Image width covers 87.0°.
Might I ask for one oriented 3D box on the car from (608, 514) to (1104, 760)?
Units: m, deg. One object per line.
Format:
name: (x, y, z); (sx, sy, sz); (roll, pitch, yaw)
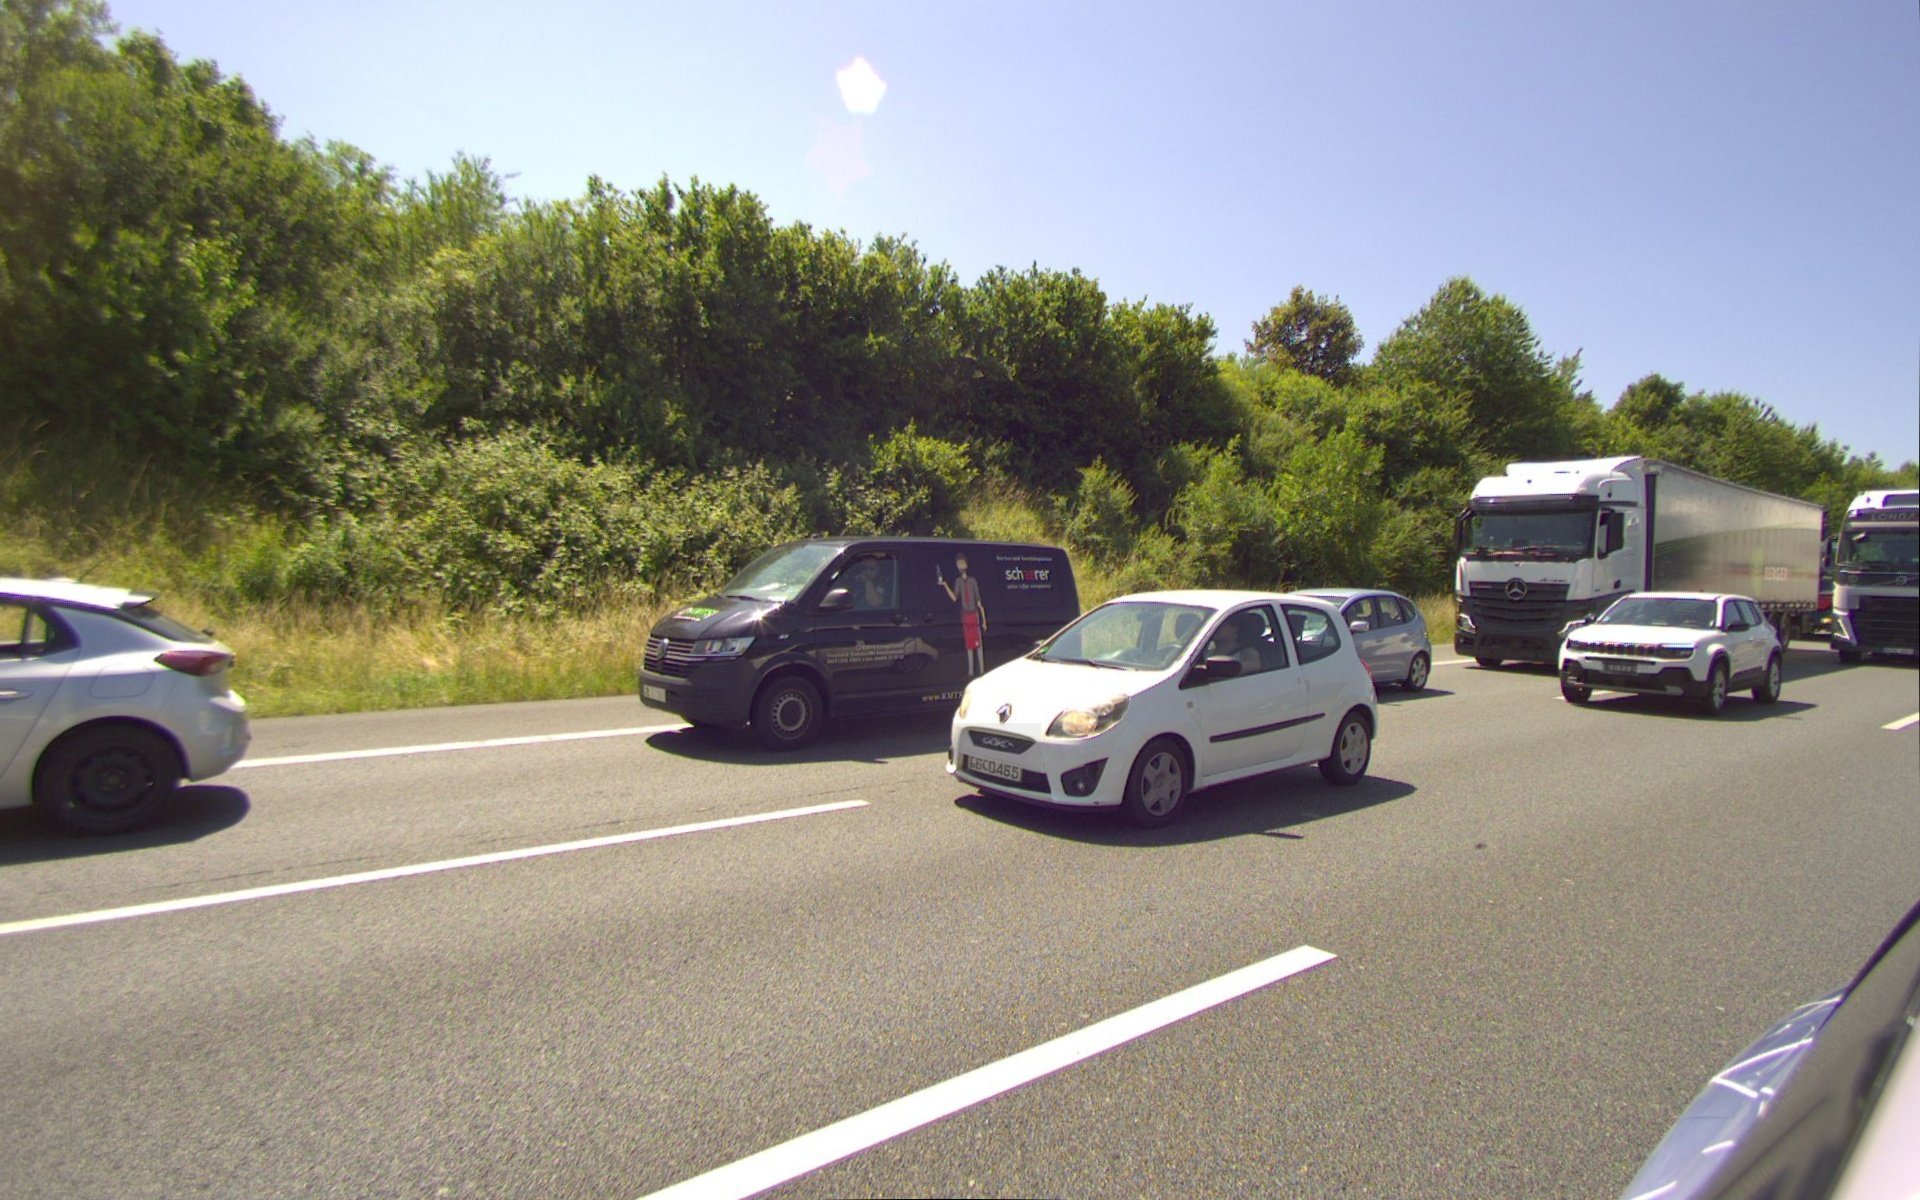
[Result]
car: (-0.889, 0.226, 10.338); (4.768, 1.964, 1.919); (-1, 3, -38)

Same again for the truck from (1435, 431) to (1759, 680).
truck: (13.288, -0.825, 20.759); (8.319, 4.208, 2.881); (0, 2, -38)

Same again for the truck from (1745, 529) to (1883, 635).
truck: (28.045, -0.595, 33.180); (5.571, 3.185, 2.301); (0, 2, -38)

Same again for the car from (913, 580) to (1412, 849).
car: (1.635, 0.613, 7.527); (3.741, 1.451, 1.609); (-1, 3, -39)

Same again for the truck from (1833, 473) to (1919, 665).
truck: (23.488, -0.683, 23.864); (8.207, 4.044, 2.751); (0, 2, -38)

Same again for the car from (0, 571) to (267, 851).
car: (-6.278, 0.571, 5.551); (3.956, 1.461, 1.735); (1, 2, -39)

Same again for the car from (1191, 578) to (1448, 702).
car: (5.198, 0.478, 14.440); (3.851, 1.479, 1.666); (0, 3, -39)

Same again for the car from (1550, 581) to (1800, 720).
car: (9.841, 0.561, 13.851); (3.814, 1.577, 1.749); (-1, 3, -38)

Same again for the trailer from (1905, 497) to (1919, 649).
trailer: (29.679, -0.712, 28.677); (8.987, 4.023, 2.777); (-1, 2, -38)

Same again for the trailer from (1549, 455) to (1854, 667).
trailer: (18.633, -0.870, 24.927); (11.854, 4.208, 2.881); (-1, 2, -38)
